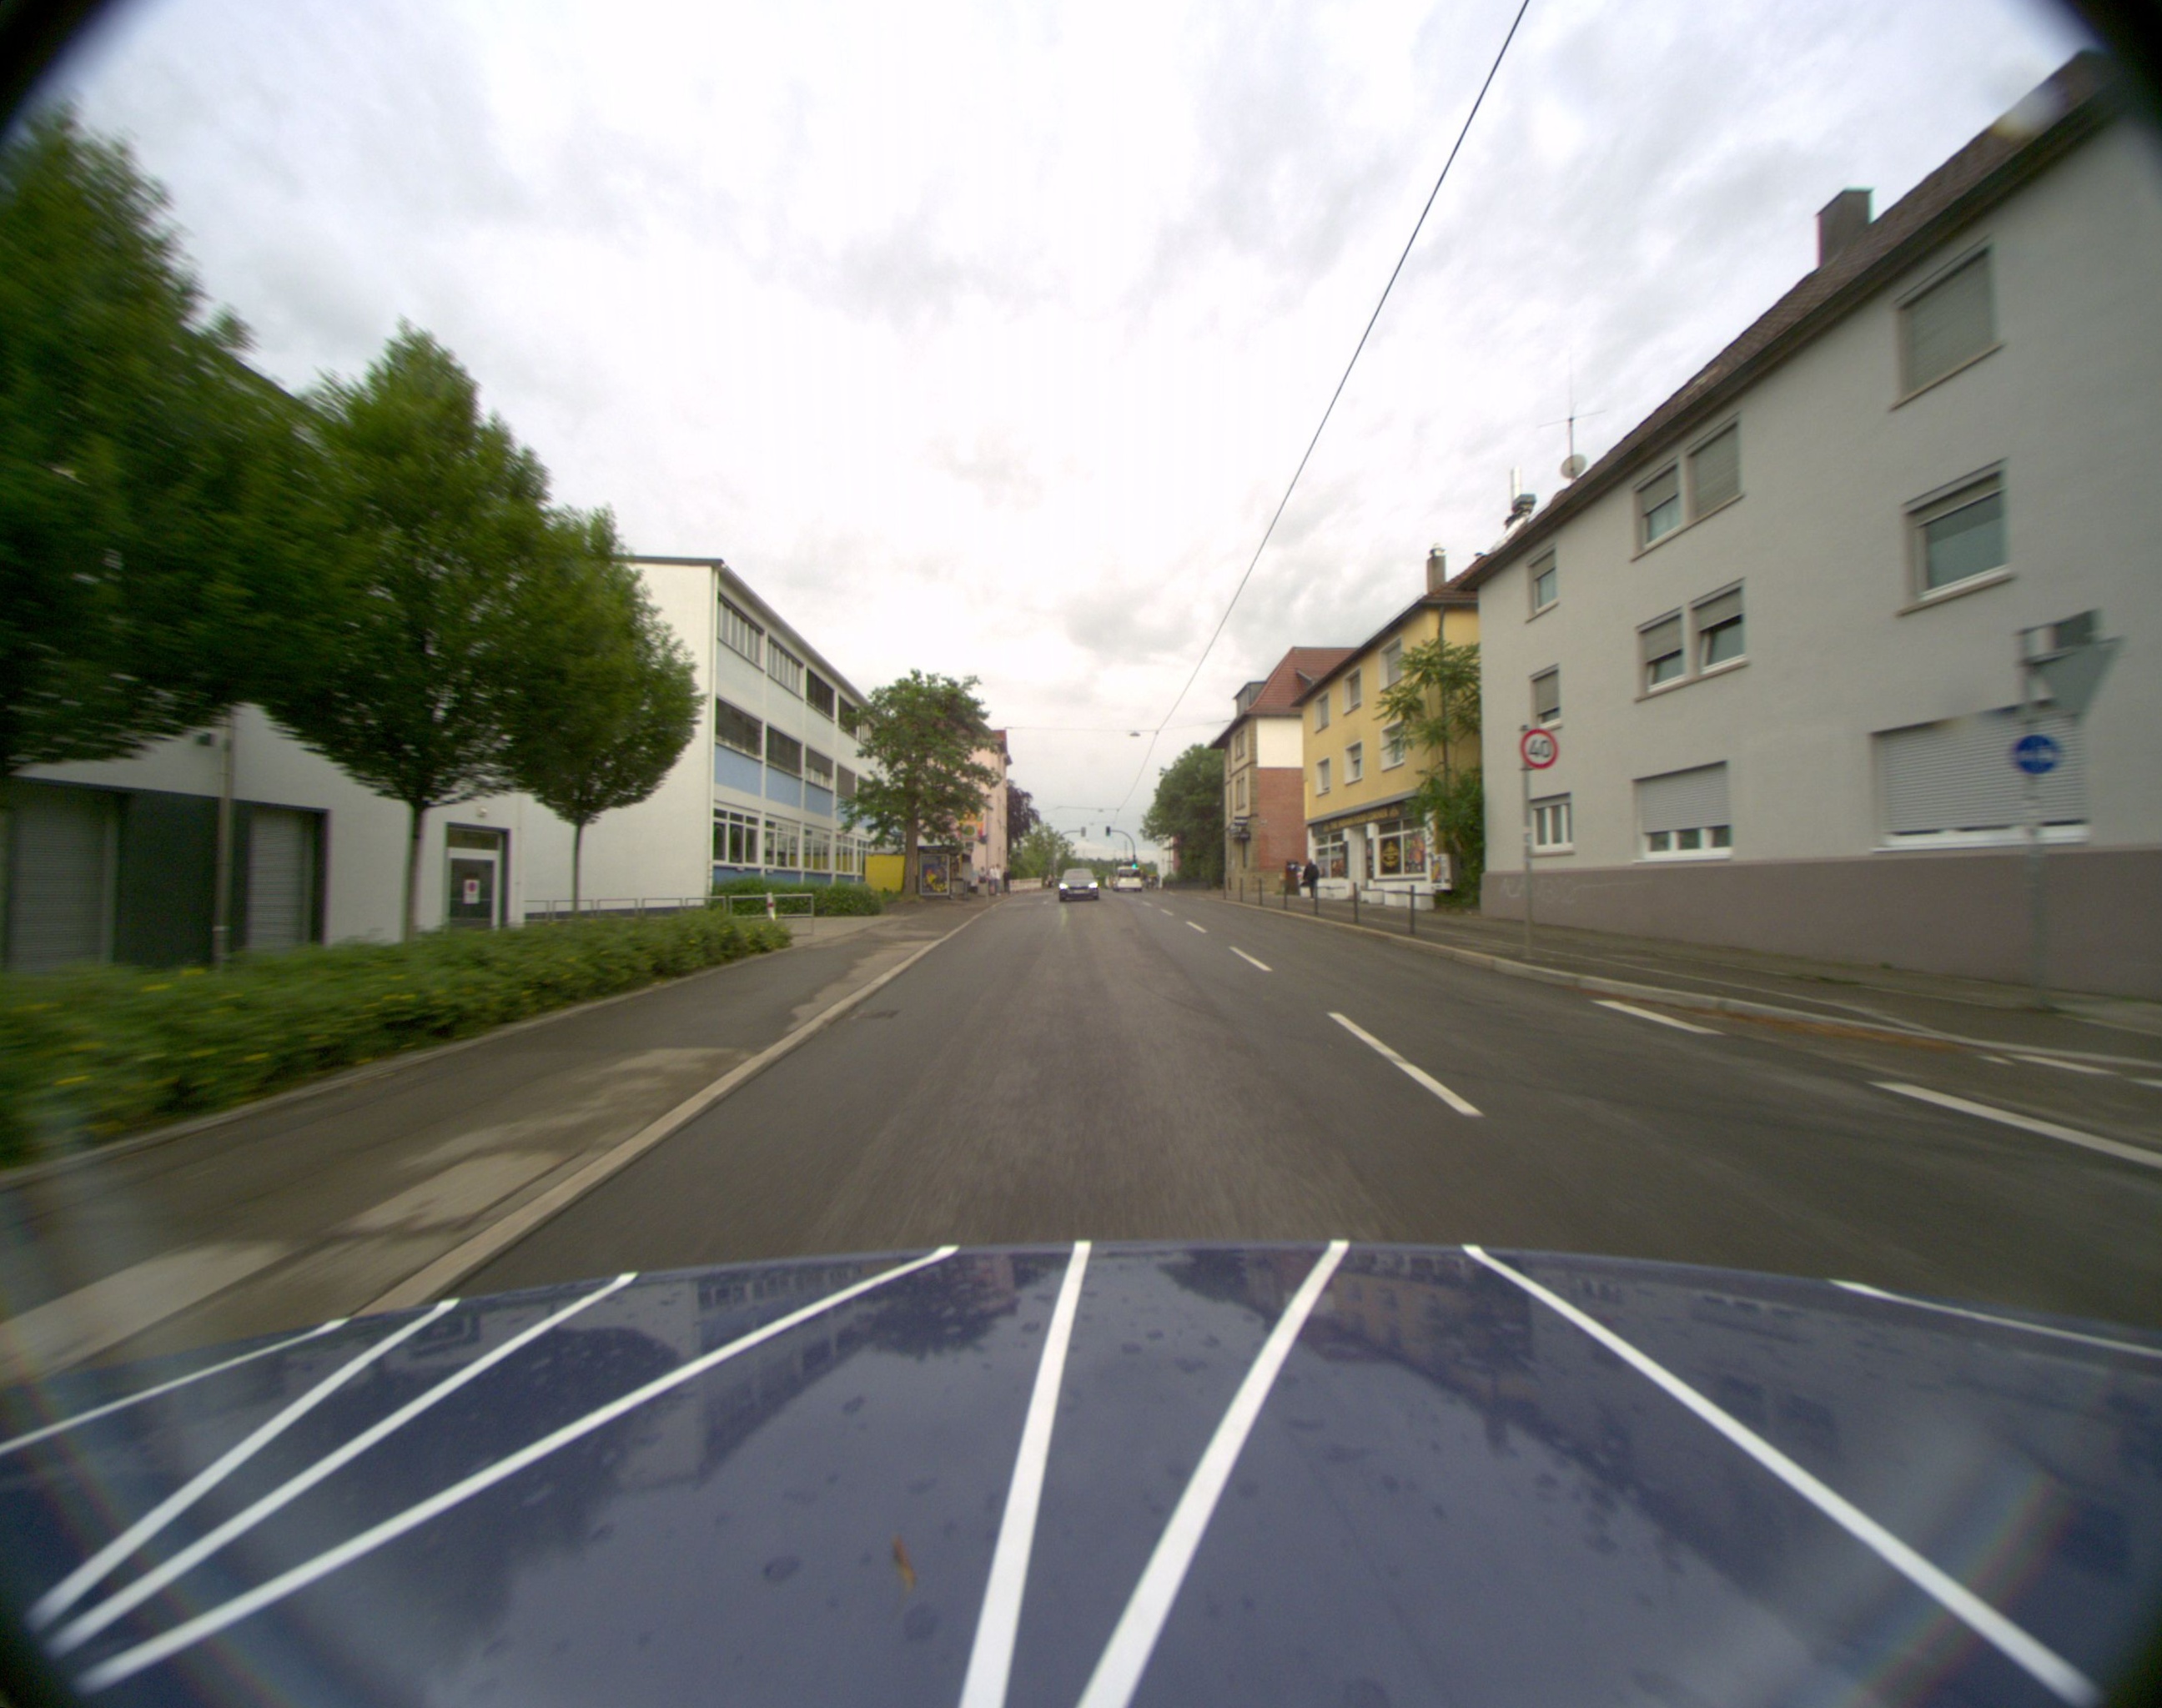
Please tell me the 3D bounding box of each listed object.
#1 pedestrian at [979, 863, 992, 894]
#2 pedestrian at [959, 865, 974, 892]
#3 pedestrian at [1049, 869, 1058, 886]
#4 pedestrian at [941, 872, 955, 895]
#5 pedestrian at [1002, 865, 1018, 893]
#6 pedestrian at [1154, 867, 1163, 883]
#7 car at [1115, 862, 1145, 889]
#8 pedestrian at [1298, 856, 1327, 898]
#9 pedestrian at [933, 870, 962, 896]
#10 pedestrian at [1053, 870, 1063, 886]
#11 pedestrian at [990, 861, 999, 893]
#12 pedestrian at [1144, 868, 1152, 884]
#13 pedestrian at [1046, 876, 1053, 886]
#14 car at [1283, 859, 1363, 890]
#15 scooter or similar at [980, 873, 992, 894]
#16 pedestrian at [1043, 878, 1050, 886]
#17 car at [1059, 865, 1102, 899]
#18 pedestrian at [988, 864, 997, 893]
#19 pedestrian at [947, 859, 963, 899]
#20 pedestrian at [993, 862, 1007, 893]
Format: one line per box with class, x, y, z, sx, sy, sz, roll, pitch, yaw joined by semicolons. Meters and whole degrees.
pedestrian;-5.312;1.360;42.328;0.662;1.731;0.829;1;-1;-6
pedestrian;-7.105;1.519;47.181;0.676;1.616;0.623;2;-1;-29
pedestrian;-2.688;2.306;75.432;0.785;1.632;1.222;-2;-1;2
pedestrian;-6.927;1.520;39.586;0.662;1.191;0.741;1;-1;-6
pedestrian;-4.335;1.512;46.242;0.638;1.699;0.747;3;-1;-34
pedestrian;8.907;2.443;87.128;0.808;1.810;1.116;-1;-3;-1
car;3.540;1.546;55.603;1.887;1.858;4.453;0;0;0
pedestrian;9.492;0.939;31.139;0.817;1.669;0.993;-2;0;-3
pedestrian;-6.680;1.448;38.054;1.359;1.265;0.741;1;-1;-6
pedestrian;-2.387;2.432;77.862;0.877;1.551;1.050;-2;-1;4
pedestrian;-5.062;1.361;44.502;0.460;1.829;0.604;2;-1;-6
pedestrian;7.747;2.586;88.064;0.864;1.870;1.044;0;-3;-2
pedestrian;-5.164;4.463;125.430;0.922;1.537;0.544;1;-2;-32
car;12.952;1.096;40.805;3.574;1.477;1.947;-3;-1;-2
scooter or similar;-5.226;1.632;41.631;0.619;1.133;0.567;1;-1;-6
pedestrian;-6.090;4.972;134.570;1.070;1.321;0.808;1;-2;-32
car;-0.015;1.336;35.092;1.837;1.429;4.002;-1;-3;0
pedestrian;-5.256;1.475;45.153;0.447;1.697;0.557;2;-1;-1
pedestrian;-5.908;1.161;35.599;0.648;1.820;0.741;1;-1;-6
pedestrian;-4.863;1.428;45.737;0.487;1.864;0.634;1;-1;27
